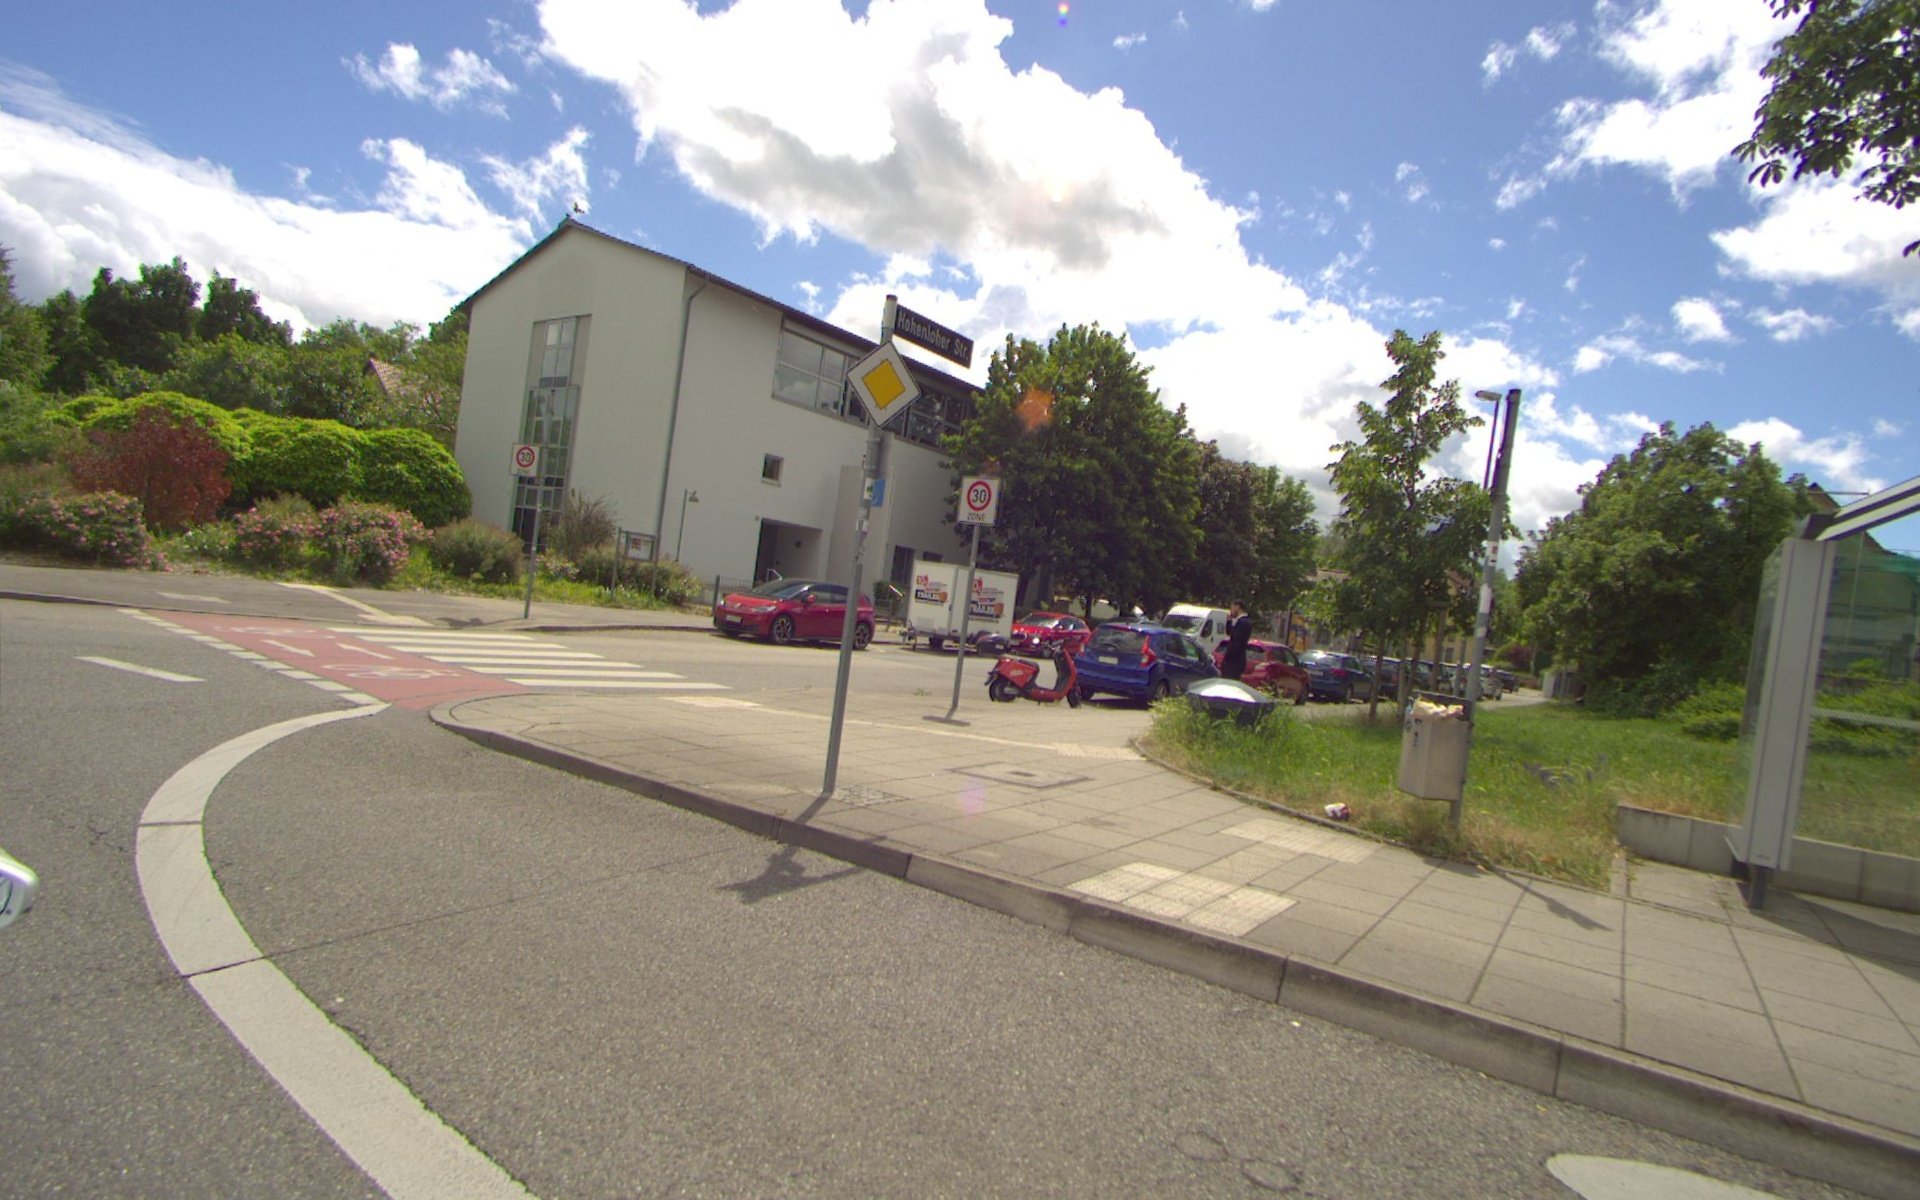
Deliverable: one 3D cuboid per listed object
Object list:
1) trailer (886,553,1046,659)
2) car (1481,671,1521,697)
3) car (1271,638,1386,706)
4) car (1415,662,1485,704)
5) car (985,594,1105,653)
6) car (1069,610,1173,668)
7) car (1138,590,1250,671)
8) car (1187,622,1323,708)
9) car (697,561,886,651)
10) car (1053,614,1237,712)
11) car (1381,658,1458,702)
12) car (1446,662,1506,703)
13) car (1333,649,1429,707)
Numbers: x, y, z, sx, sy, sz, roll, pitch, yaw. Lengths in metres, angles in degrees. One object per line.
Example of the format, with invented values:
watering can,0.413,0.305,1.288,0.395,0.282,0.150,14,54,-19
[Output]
trailer,0.267,0.244,29.829,2.187,2.517,4.537,9,0,37
car,40.003,6.207,74.307,1.969,1.578,4.079,7,0,35
car,10.680,2.087,28.964,1.969,1.578,4.079,7,0,35
car,20.606,3.499,42.217,1.820,1.382,3.988,9,0,37
car,2.875,0.815,33.301,1.969,1.522,4.078,9,2,37
car,6.036,1.483,37.355,1.881,1.744,3.982,7,0,40
car,9.967,1.351,42.465,2.172,2.902,5.573,7,0,38
car,7.171,1.607,24.263,1.801,1.664,3.687,9,0,37
car,-3.897,0.199,23.963,1.968,1.581,4.159,10,1,34
car,3.655,1.208,19.413,1.867,1.475,3.791,9,2,37
car,17.224,3.000,37.616,1.839,1.302,3.988,7,0,35
car,24.118,3.846,46.955,1.764,1.610,3.988,7,0,35
car,14.030,2.602,33.418,1.969,1.578,4.079,7,0,35
